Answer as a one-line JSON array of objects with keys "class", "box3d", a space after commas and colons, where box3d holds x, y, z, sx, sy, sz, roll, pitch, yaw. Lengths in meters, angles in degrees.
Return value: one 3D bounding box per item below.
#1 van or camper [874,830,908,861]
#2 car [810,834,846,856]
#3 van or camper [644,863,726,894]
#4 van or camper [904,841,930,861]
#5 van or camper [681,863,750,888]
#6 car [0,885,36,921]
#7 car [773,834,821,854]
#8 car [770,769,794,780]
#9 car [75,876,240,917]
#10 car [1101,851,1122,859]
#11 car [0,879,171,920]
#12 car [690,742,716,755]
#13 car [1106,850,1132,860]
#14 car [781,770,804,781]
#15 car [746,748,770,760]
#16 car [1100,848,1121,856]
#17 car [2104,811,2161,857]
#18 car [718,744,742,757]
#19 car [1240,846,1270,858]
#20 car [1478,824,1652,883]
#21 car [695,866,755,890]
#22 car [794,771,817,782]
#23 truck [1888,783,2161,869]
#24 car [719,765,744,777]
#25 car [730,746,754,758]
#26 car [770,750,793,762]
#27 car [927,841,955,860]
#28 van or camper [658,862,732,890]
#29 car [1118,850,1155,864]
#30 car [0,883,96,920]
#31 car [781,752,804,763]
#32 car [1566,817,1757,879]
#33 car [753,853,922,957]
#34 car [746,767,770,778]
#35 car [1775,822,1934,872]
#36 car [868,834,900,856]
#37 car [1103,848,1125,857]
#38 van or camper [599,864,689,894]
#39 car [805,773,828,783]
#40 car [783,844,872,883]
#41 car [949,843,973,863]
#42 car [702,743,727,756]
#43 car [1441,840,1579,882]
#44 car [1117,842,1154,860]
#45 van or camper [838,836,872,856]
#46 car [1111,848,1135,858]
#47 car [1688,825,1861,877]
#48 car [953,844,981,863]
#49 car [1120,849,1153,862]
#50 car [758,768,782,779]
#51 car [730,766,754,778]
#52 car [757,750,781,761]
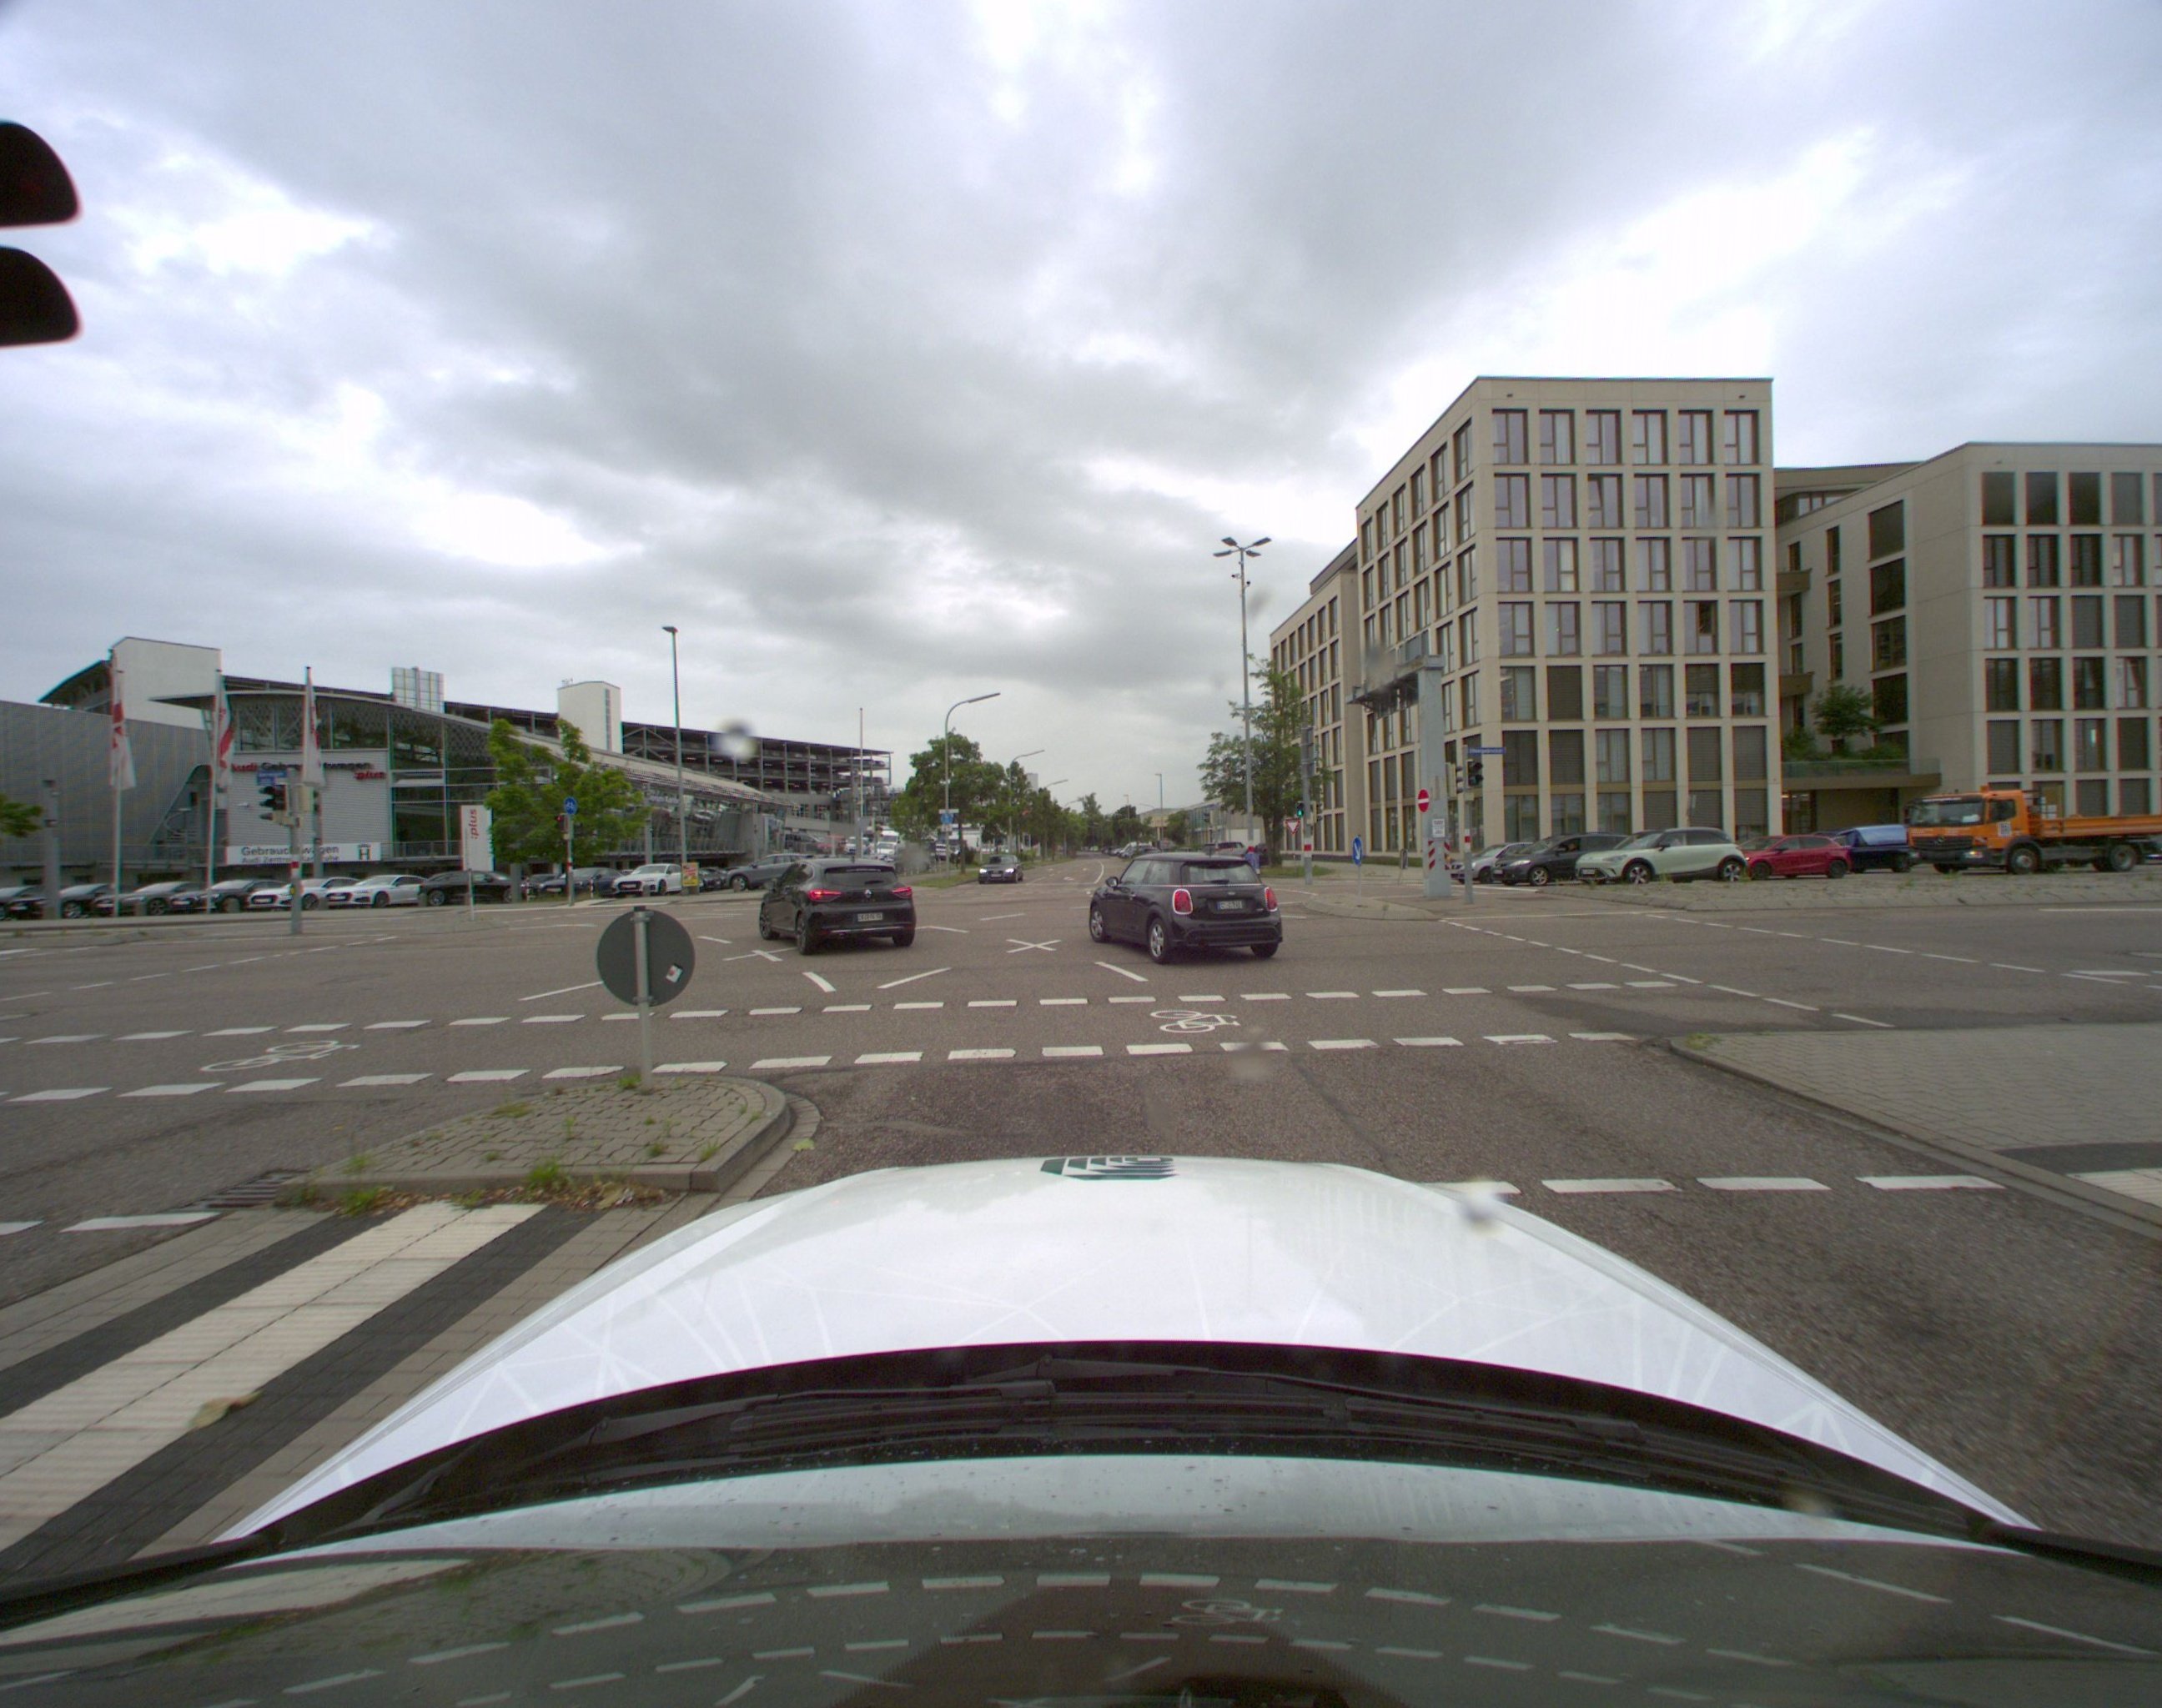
[{"class": "van or camper", "box3d": [-19.231, -0.803, 82.592, 2.530, 3.026, 4.838, 0, -1, -3]}, {"class": "car", "box3d": [-22.155, -0.762, 71.460, 1.989, 1.849, 3.995, 0, -1, -3]}, {"class": "van or camper", "box3d": [-23.970, 1.489, 49.404, 3.978, 1.816, 1.845, 0, -1, -4]}, {"class": "van or camper", "box3d": [-16.628, -0.258, 82.554, 1.989, 2.014, 3.995, 0, -1, -3]}, {"class": "van or camper", "box3d": [-25.493, 1.458, 56.886, 3.978, 1.711, 1.845, 0, -1, -4]}, {"class": "car", "box3d": [-45.058, 1.962, 32.073, 1.838, 1.472, 4.658, -1, -2, -3]}, {"class": "car", "box3d": [-27.216, -0.942, 78.067, 3.977, 1.838, 1.758, 0, -1, -2]}, {"class": "car", "box3d": [-54.661, -14.497, 148.853, 3.948, 1.667, 2.013, -1, 0, 32]}, {"class": "car", "box3d": [-36.789, 1.694, 32.626, 1.898, 1.486, 4.185, -2, -3, -3]}, {"class": "car", "box3d": [7.699, 0.270, 202.985, 5.158, 2.014, 2.143, 0, -1, -1]}, {"class": "car", "box3d": [-39.646, 1.786, 32.466, 1.884, 1.471, 4.373, -2, -3, -3]}, {"class": "car", "box3d": [-63.041, -17.598, 135.727, 3.948, 1.667, 2.013, -1, 0, 32]}, {"class": "car", "box3d": [7.920, 0.205, 170.002, 5.158, 2.014, 2.143, 0, -1, -1]}, {"class": "car", "box3d": [-53.459, -14.500, 150.703, 3.948, 1.667, 2.013, -1, 0, 32]}, {"class": "car", "box3d": [-57.370, -17.761, 144.671, 3.948, 1.667, 2.013, -1, 0, 32]}, {"class": "car", "box3d": [7.548, -0.395, 206.810, 5.158, 2.014, 2.143, 0, -1, -1]}, {"class": "car", "box3d": [41.657, -0.730, 30.517, 4.091, 1.657, 2.001, 0, -1, 1]}, {"class": "car", "box3d": [-60.400, -17.795, 140.168, 3.948, 1.667, 2.013, -1, 0, 32]}, {"class": "car", "box3d": [21.075, -0.239, 98.704, 3.239, 1.332, 1.476, 0, -1, -18]}, {"class": "car", "box3d": [15.221, -0.002, 25.780, 4.398, 1.769, 1.997, 0, -1, -4]}, {"class": "car", "box3d": [-28.279, 1.876, 64.842, 3.981, 1.838, 1.756, 0, -1, -6]}, {"class": "car", "box3d": [-51.806, -14.601, 153.269, 3.948, 1.667, 2.013, -1, 0, 32]}, {"class": "truck", "box3d": [31.004, -0.837, 26.625, 6.636, 2.638, 2.819, 0, -1, -2]}, {"class": "car", "box3d": [-60.163, -14.232, 140.229, 3.948, 1.667, 2.013, -1, 0, 32]}, {"class": "car", "box3d": [-59.093, -17.772, 142.033, 3.948, 1.667, 2.013, -1, 0, 32]}, {"class": "car", "box3d": [-54.760, -17.892, 148.980, 3.948, 1.667, 2.013, -1, 0, 32]}, {"class": "car", "box3d": [-12.318, -0.315, 71.740, 1.989, 1.618, 3.995, 0, -1, -3]}, {"class": "van or camper", "box3d": [-25.394, 1.432, 53.665, 3.978, 1.816, 1.845, 0, -1, -4]}, {"class": "car", "box3d": [7.958, 0.441, 116.797, 5.160, 2.014, 2.142, 0, -1, -2]}, {"class": "car", "box3d": [-42.382, 1.882, 32.190, 1.892, 1.391, 4.162, -2, -3, -3]}, {"class": "car", "box3d": [-53.447, -17.861, 150.801, 3.948, 1.667, 2.013, -1, 0, 32]}, {"class": "car", "box3d": [15.944, -0.144, 22.478, 4.049, 1.643, 1.902, 0, -1, -5]}, {"class": "car", "box3d": [-4.206, 0.717, 13.657, 1.769, 1.434, 3.960, -1, 0, -31]}, {"class": "car", "box3d": [-57.371, -14.431, 144.537, 3.948, 1.667, 2.013, -1, 0, 32]}, {"class": "car", "box3d": [28.347, -0.250, 29.933, 4.127, 1.769, 1.997, 0, -1, -4]}, {"class": "car", "box3d": [-17.252, -0.748, 71.337, 1.989, 1.823, 3.995, 0, -1, -3]}, {"class": "car", "box3d": [7.831, -0.384, 192.974, 5.158, 2.014, 2.143, 0, -1, -1]}, {"class": "van or camper", "box3d": [-24.771, 1.389, 46.297, 3.978, 1.677, 1.997, 0, -1, -4]}, {"class": "car", "box3d": [-50.555, -14.521, 155.617, 3.948, 1.667, 2.013, -1, 0, 32]}, {"class": "car", "box3d": [-15.347, 0.579, 49.533, 4.767, 2.013, 1.996, -3, -1, -6]}, {"class": "car", "box3d": [-12.172, -0.054, 82.939, 1.989, 2.014, 3.995, 0, -1, -3]}, {"class": "car", "box3d": [-62.039, -17.723, 137.775, 3.948, 1.667, 2.013, -1, 0, 32]}, {"class": "car", "box3d": [15.255, 0.261, 29.065, 4.076, 1.432, 1.749, 0, -1, -4]}, {"class": "car", "box3d": [9.294, -0.468, 139.418, 6.098, 3.116, 2.133, 0, -1, -1]}, {"class": "van or camper", "box3d": [-19.713, -0.649, 71.214, 1.989, 1.651, 3.995, 0, -1, -3]}, {"class": "car", "box3d": [8.376, -0.177, 163.402, 4.773, 1.891, 2.142, 0, -1, -2]}, {"class": "car", "box3d": [22.187, -0.076, 26.170, 3.978, 1.601, 1.998, 0, -1, -3]}, {"class": "car", "box3d": [-10.069, -0.039, 72.216, 1.988, 1.618, 3.998, 0, -1, -1]}, {"class": "car", "box3d": [8.179, 0.201, 120.060, 4.773, 1.891, 2.142, 0, -1, -2]}, {"class": "car", "box3d": [-56.000, -14.470, 146.660, 3.948, 1.667, 2.013, -1, 0, 32]}, {"class": "car", "box3d": [-59.238, -14.341, 142.310, 3.948, 1.667, 2.013, -1, 0, 32]}, {"class": "car", "box3d": [-56.183, -17.736, 146.680, 3.948, 1.667, 2.013, -1, 0, 32]}]
